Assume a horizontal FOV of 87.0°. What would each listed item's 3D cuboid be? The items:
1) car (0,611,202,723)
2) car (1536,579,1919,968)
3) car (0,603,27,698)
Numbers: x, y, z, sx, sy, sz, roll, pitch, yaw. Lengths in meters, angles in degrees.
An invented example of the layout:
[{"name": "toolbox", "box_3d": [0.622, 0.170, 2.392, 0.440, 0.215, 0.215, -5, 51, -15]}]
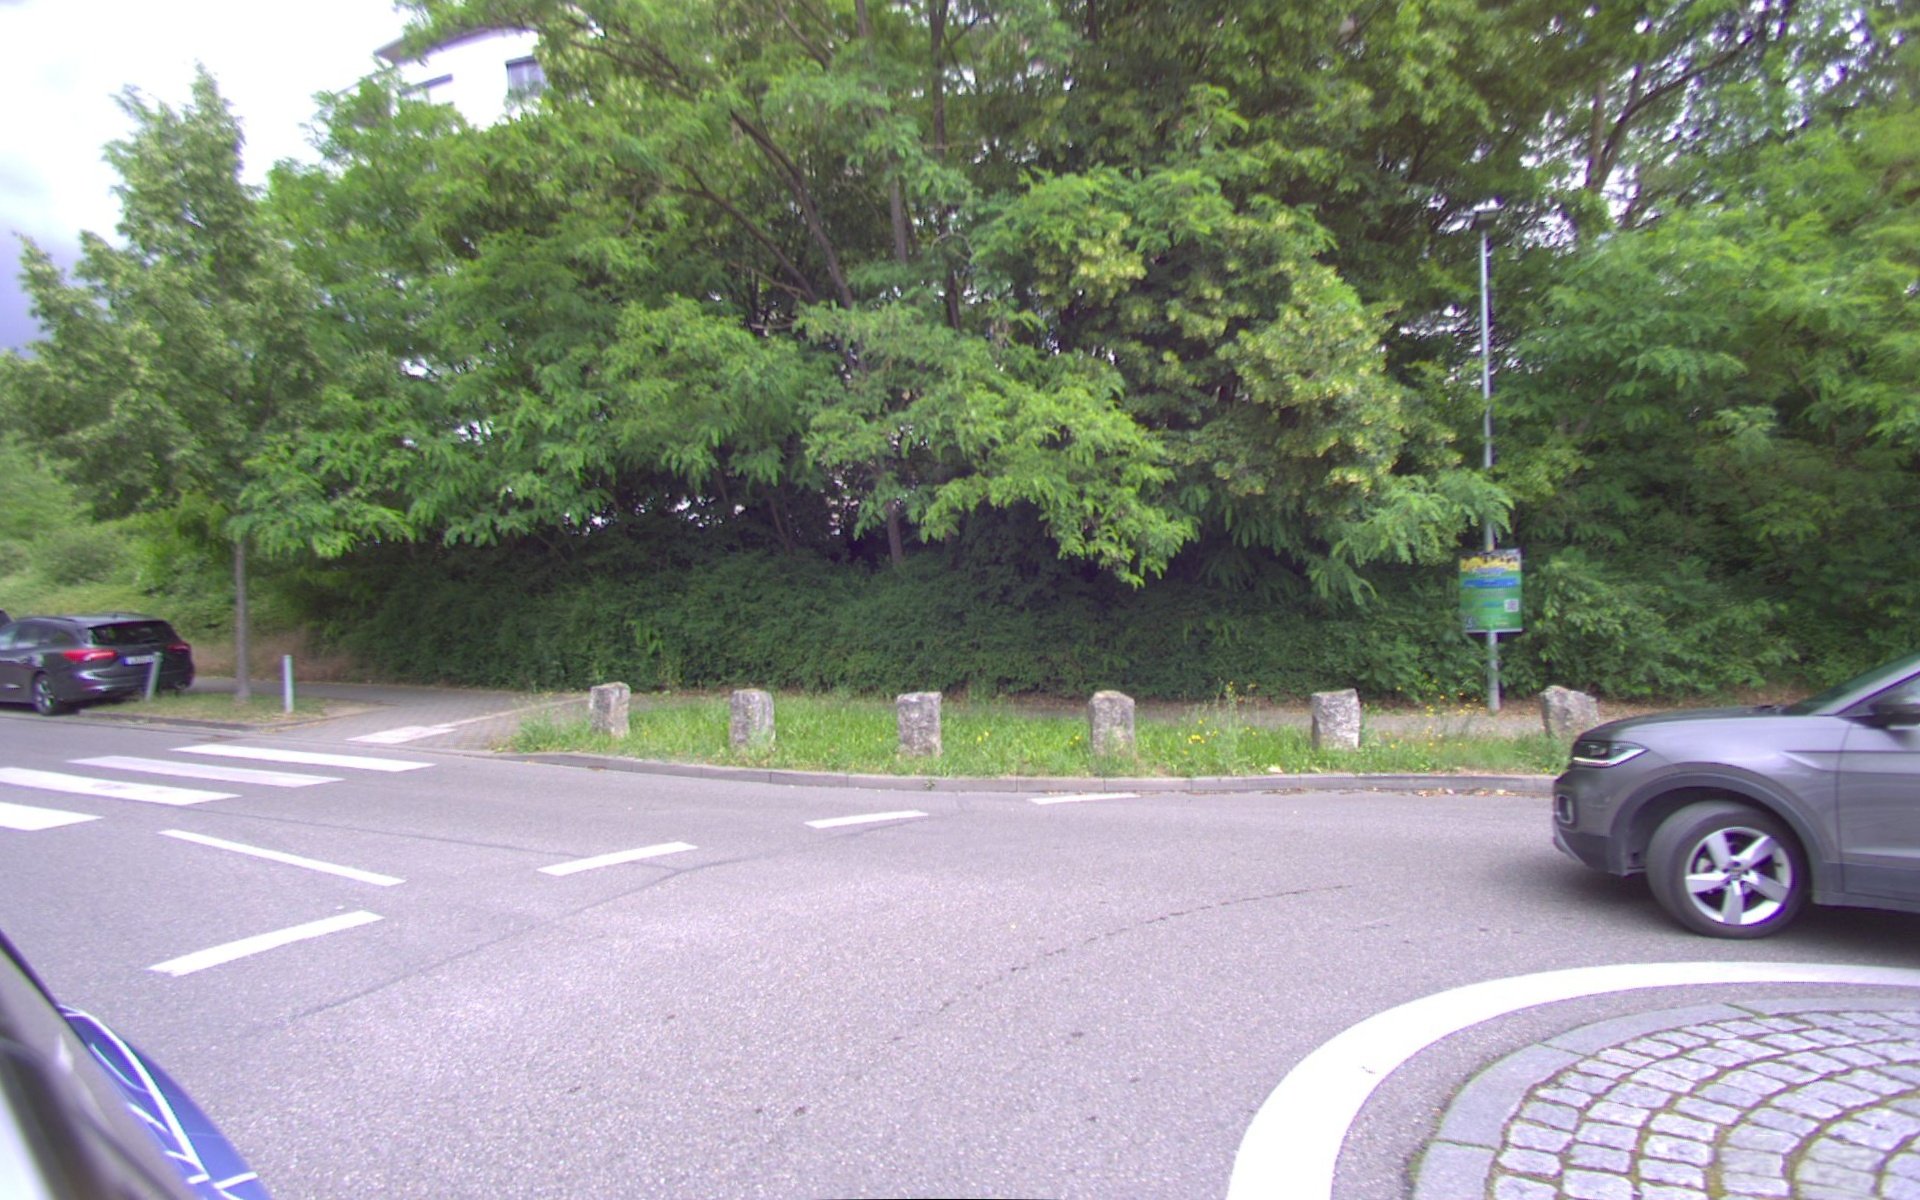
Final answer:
[{"name": "car", "box_3d": [-14.283, 0.980, 16.017, 4.429, 1.476, 1.682, -1, 3, 24]}, {"name": "car", "box_3d": [5.012, 0.738, 4.419, 1.695, 1.630, 4.015, 2, -2, -41]}, {"name": "car", "box_3d": [-18.965, 0.911, 18.043, 4.451, 1.627, 1.791, 0, 3, 24]}]
